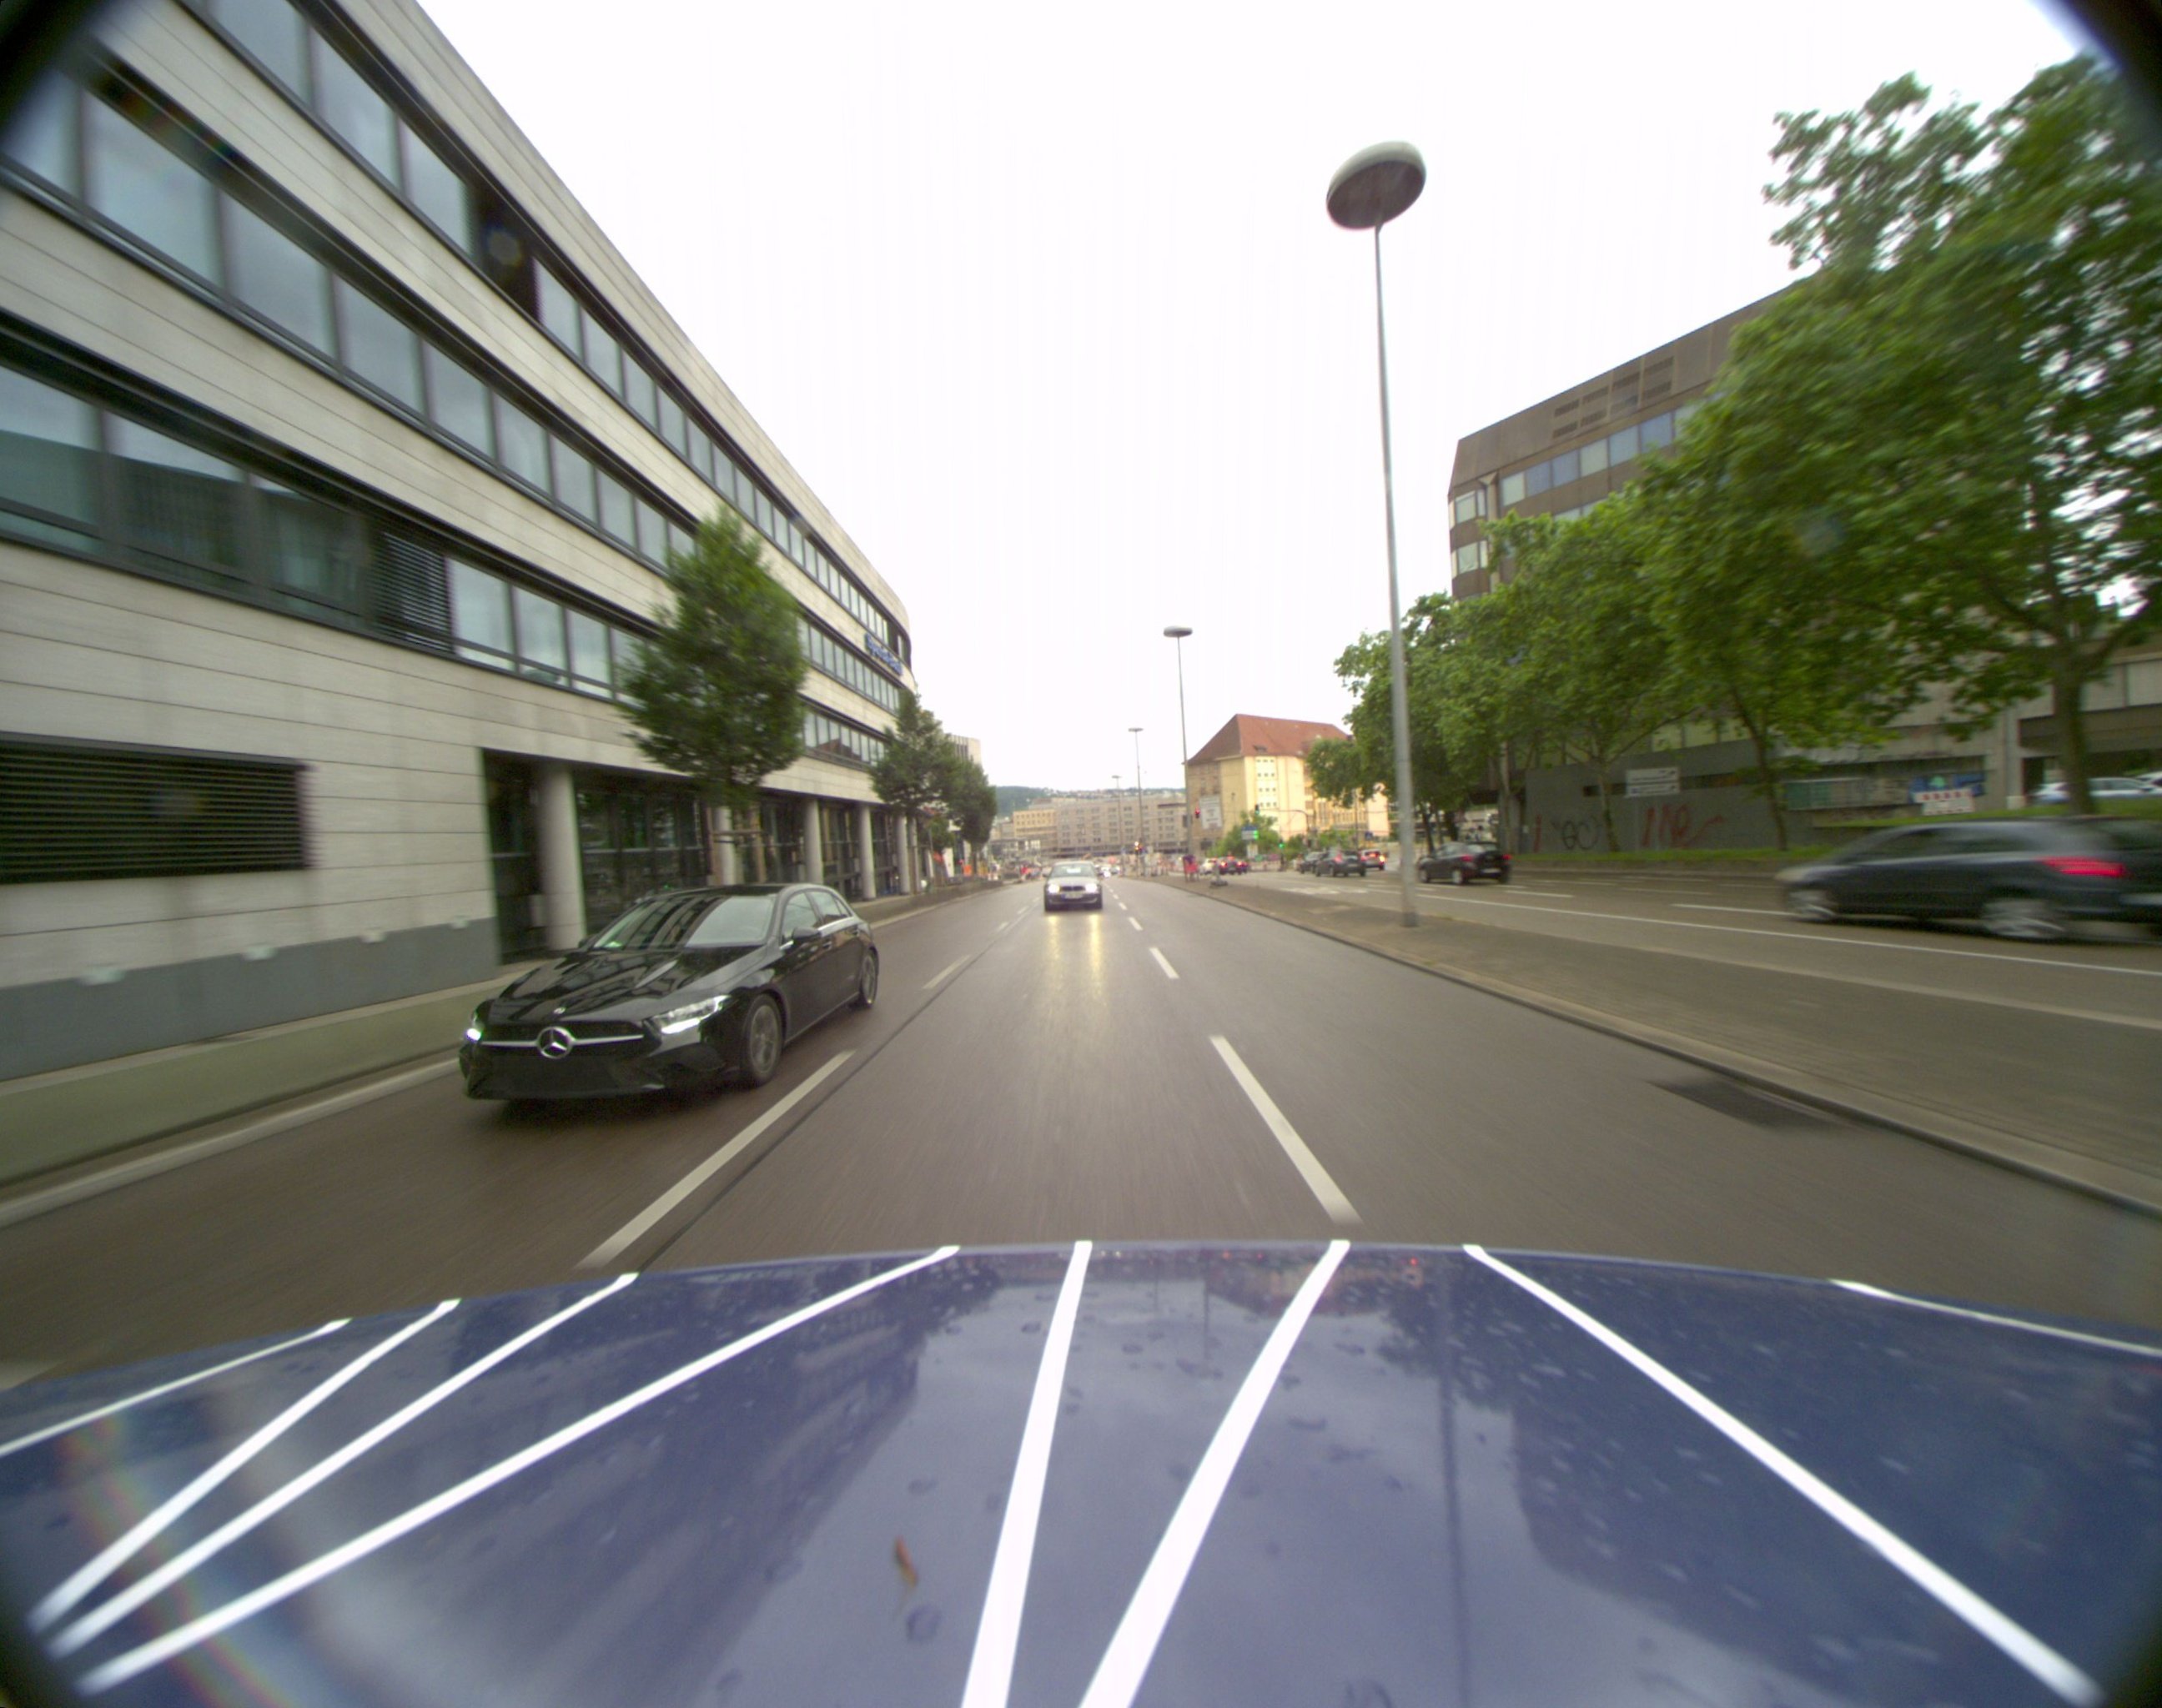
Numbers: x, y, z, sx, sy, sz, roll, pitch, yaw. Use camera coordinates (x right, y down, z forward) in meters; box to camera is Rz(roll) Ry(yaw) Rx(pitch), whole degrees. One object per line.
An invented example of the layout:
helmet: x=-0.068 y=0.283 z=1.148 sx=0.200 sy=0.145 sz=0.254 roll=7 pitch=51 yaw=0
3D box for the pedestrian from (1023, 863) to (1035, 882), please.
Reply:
pedestrian: x=-5.322 y=1.880 z=77.900 sx=0.765 sy=1.936 sz=0.994 roll=-2 pitch=1 yaw=19

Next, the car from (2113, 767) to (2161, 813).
car: x=44.700 y=-2.662 z=30.119 sx=3.990 sy=1.707 sz=2.003 roll=-3 pitch=0 yaw=25

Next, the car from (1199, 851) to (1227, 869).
car: x=11.468 y=0.514 z=66.298 sx=1.798 sy=1.477 sz=3.864 roll=-3 pitch=0 yaw=0

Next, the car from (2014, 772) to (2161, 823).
car: x=39.724 y=-2.171 z=29.588 sx=3.989 sy=1.707 sz=2.004 roll=-2 pitch=1 yaw=42

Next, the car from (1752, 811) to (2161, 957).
car: x=11.659 y=0.309 z=9.971 sx=1.938 sy=1.491 sz=4.173 roll=-2 pitch=-1 yaw=-1

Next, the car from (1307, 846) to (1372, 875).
car: x=13.657 y=0.331 z=40.444 sx=1.938 sy=1.428 sz=4.506 roll=-2 pitch=0 yaw=1

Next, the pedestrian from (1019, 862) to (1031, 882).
pedestrian: x=-5.639 y=1.831 z=76.844 sx=0.992 sy=1.936 sz=0.767 roll=-2 pitch=1 yaw=3

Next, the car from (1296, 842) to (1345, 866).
car: x=16.592 y=0.013 z=52.924 sx=1.938 sy=1.491 sz=4.506 roll=-3 pitch=0 yaw=1

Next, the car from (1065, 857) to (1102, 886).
car: x=0.174 y=0.913 z=41.242 sx=1.863 sy=1.449 sz=4.205 roll=-1 pitch=0 yaw=1

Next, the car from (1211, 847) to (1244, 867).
car: x=11.433 y=0.228 z=59.339 sx=1.798 sy=1.477 sz=3.864 roll=-3 pitch=0 yaw=0

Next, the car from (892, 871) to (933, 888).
car: x=-18.262 y=2.756 z=82.343 sx=3.997 sy=1.610 sz=1.844 roll=-2 pitch=1 yaw=-1

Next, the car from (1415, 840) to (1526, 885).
car: x=13.612 y=0.280 z=26.864 sx=1.938 sy=1.428 sz=4.076 roll=-2 pitch=0 yaw=2

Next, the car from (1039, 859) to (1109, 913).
car: x=-0.122 y=0.911 z=23.513 sx=1.863 sy=1.428 sz=4.206 roll=-3 pitch=0 yaw=3

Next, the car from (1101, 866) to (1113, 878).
car: x=4.798 y=3.250 z=138.019 sx=1.998 sy=2.002 sz=4.000 roll=-2 pitch=1 yaw=3

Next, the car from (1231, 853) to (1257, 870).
car: x=15.353 y=0.702 z=71.744 sx=1.798 sy=1.477 sz=3.439 roll=-2 pitch=-1 yaw=3

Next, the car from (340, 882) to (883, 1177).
car: x=-3.193 y=1.067 z=6.384 sx=1.877 sy=1.428 sz=4.205 roll=-3 pitch=0 yaw=0

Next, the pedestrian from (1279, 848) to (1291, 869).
pedestrian: x=20.059 y=0.428 z=74.601 sx=0.812 sy=2.002 sz=0.662 roll=-3 pitch=1 yaw=-30
